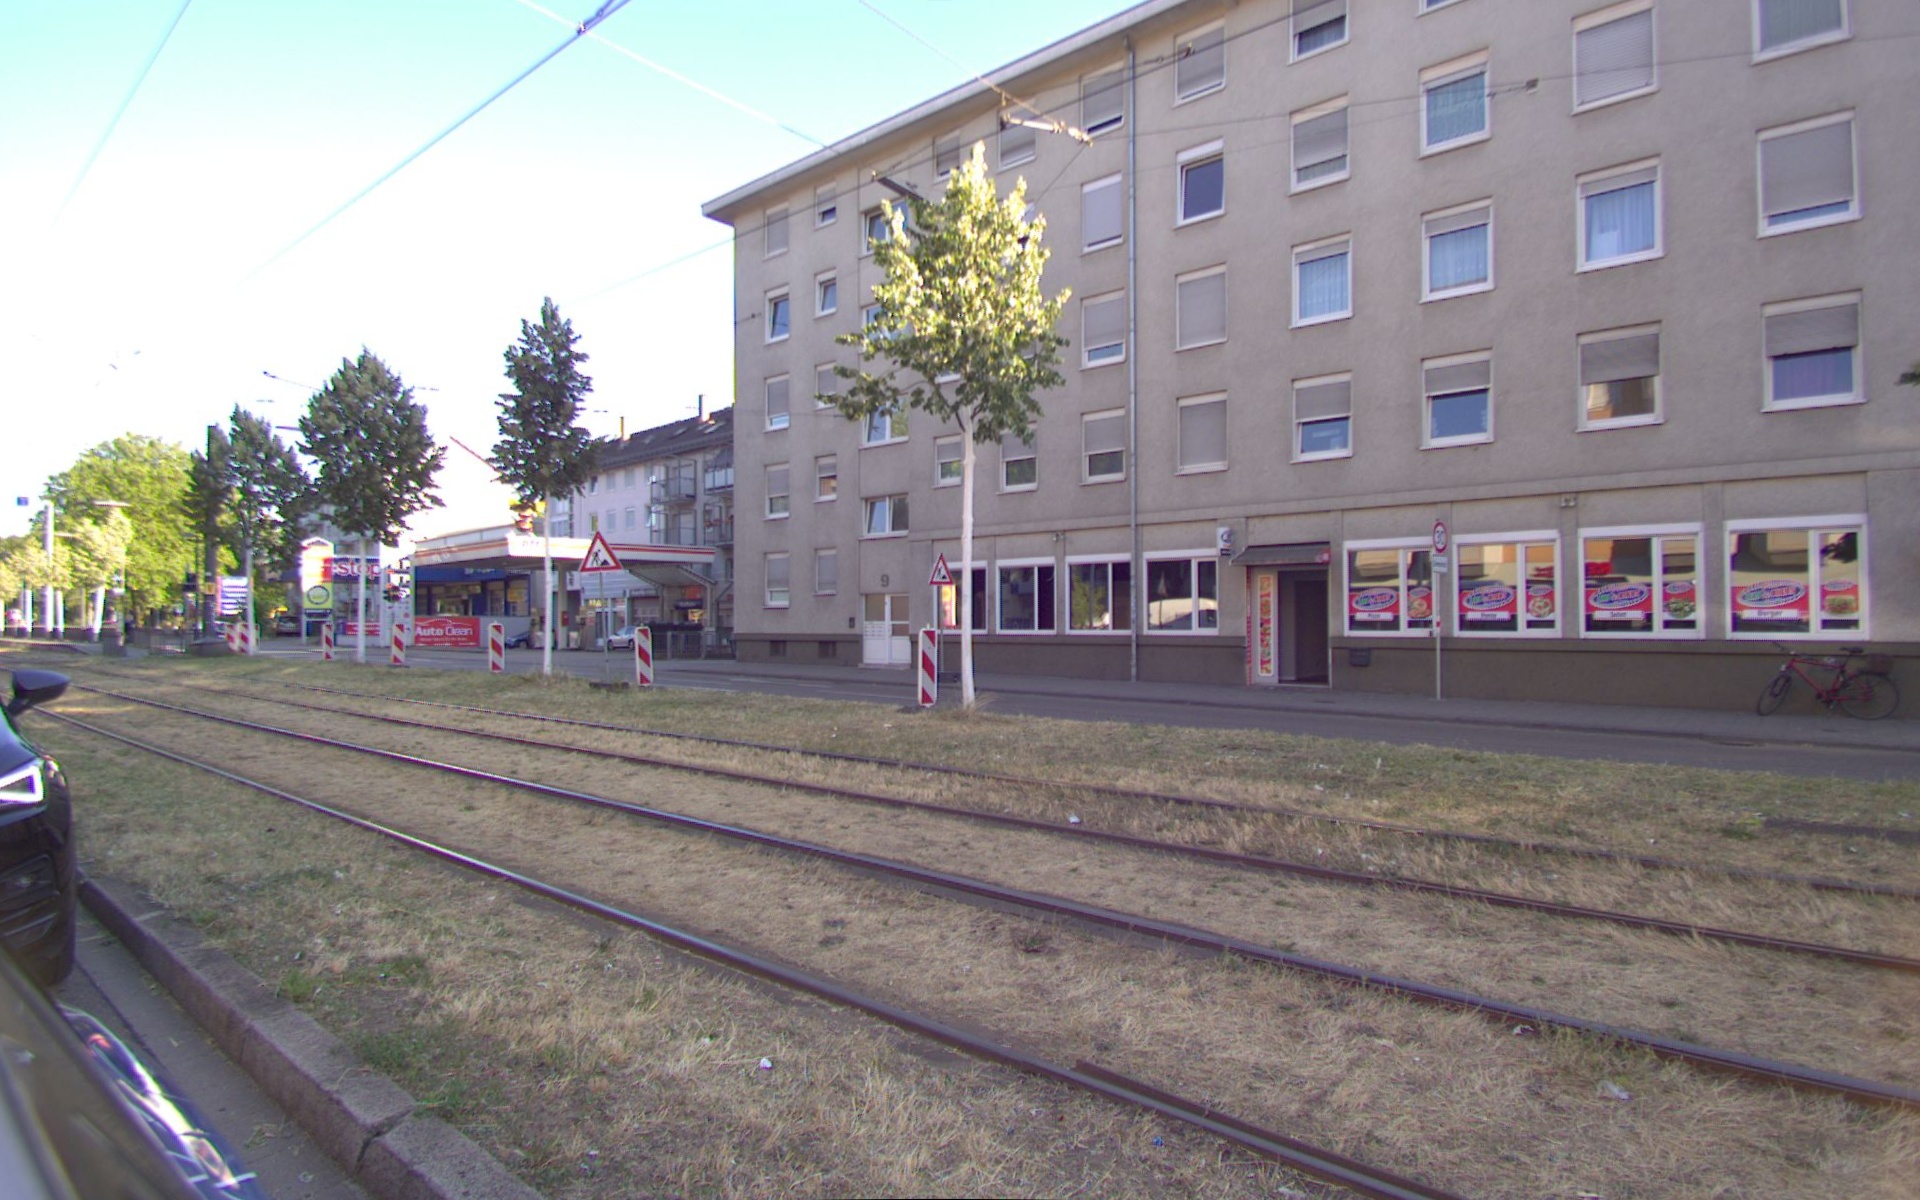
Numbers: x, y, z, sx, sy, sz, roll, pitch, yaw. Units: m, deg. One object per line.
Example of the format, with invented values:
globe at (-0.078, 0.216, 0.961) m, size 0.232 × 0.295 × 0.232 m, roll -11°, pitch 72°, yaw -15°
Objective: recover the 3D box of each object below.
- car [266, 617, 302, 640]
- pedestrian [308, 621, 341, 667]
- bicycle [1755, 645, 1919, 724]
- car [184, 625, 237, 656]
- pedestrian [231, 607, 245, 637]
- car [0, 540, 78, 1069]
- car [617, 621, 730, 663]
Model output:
car at (-49.998, 2.071, 74.780) m, size 1.756 × 1.567 × 4.006 m, roll -1°, pitch 0°, yaw -40°
pedestrian at (-18.349, 1.260, 29.215) m, size 0.581 × 1.280 × 0.655 m, roll -2°, pitch -1°, yaw 42°
bicycle at (12.754, 1.201, 14.724) m, size 1.844 × 1.031 × 0.601 m, roll -1°, pitch 0°, yaw 41°
car at (-42.036, 2.244, 56.725) m, size 3.828 × 1.622 × 1.701 m, roll -1°, pitch 0°, yaw 43°
pedestrian at (-48.812, 1.472, 68.384) m, size 0.583 × 2.029 × 0.623 m, roll -2°, pitch -2°, yaw 42°
car at (-5.039, 0.709, 4.030) m, size 3.998 × 1.690 × 1.752 m, roll -1°, pitch 1°, yaw 41°
car at (-10.742, 1.590, 38.098) m, size 1.906 × 1.481 × 3.680 m, roll -4°, pitch -4°, yaw 40°
